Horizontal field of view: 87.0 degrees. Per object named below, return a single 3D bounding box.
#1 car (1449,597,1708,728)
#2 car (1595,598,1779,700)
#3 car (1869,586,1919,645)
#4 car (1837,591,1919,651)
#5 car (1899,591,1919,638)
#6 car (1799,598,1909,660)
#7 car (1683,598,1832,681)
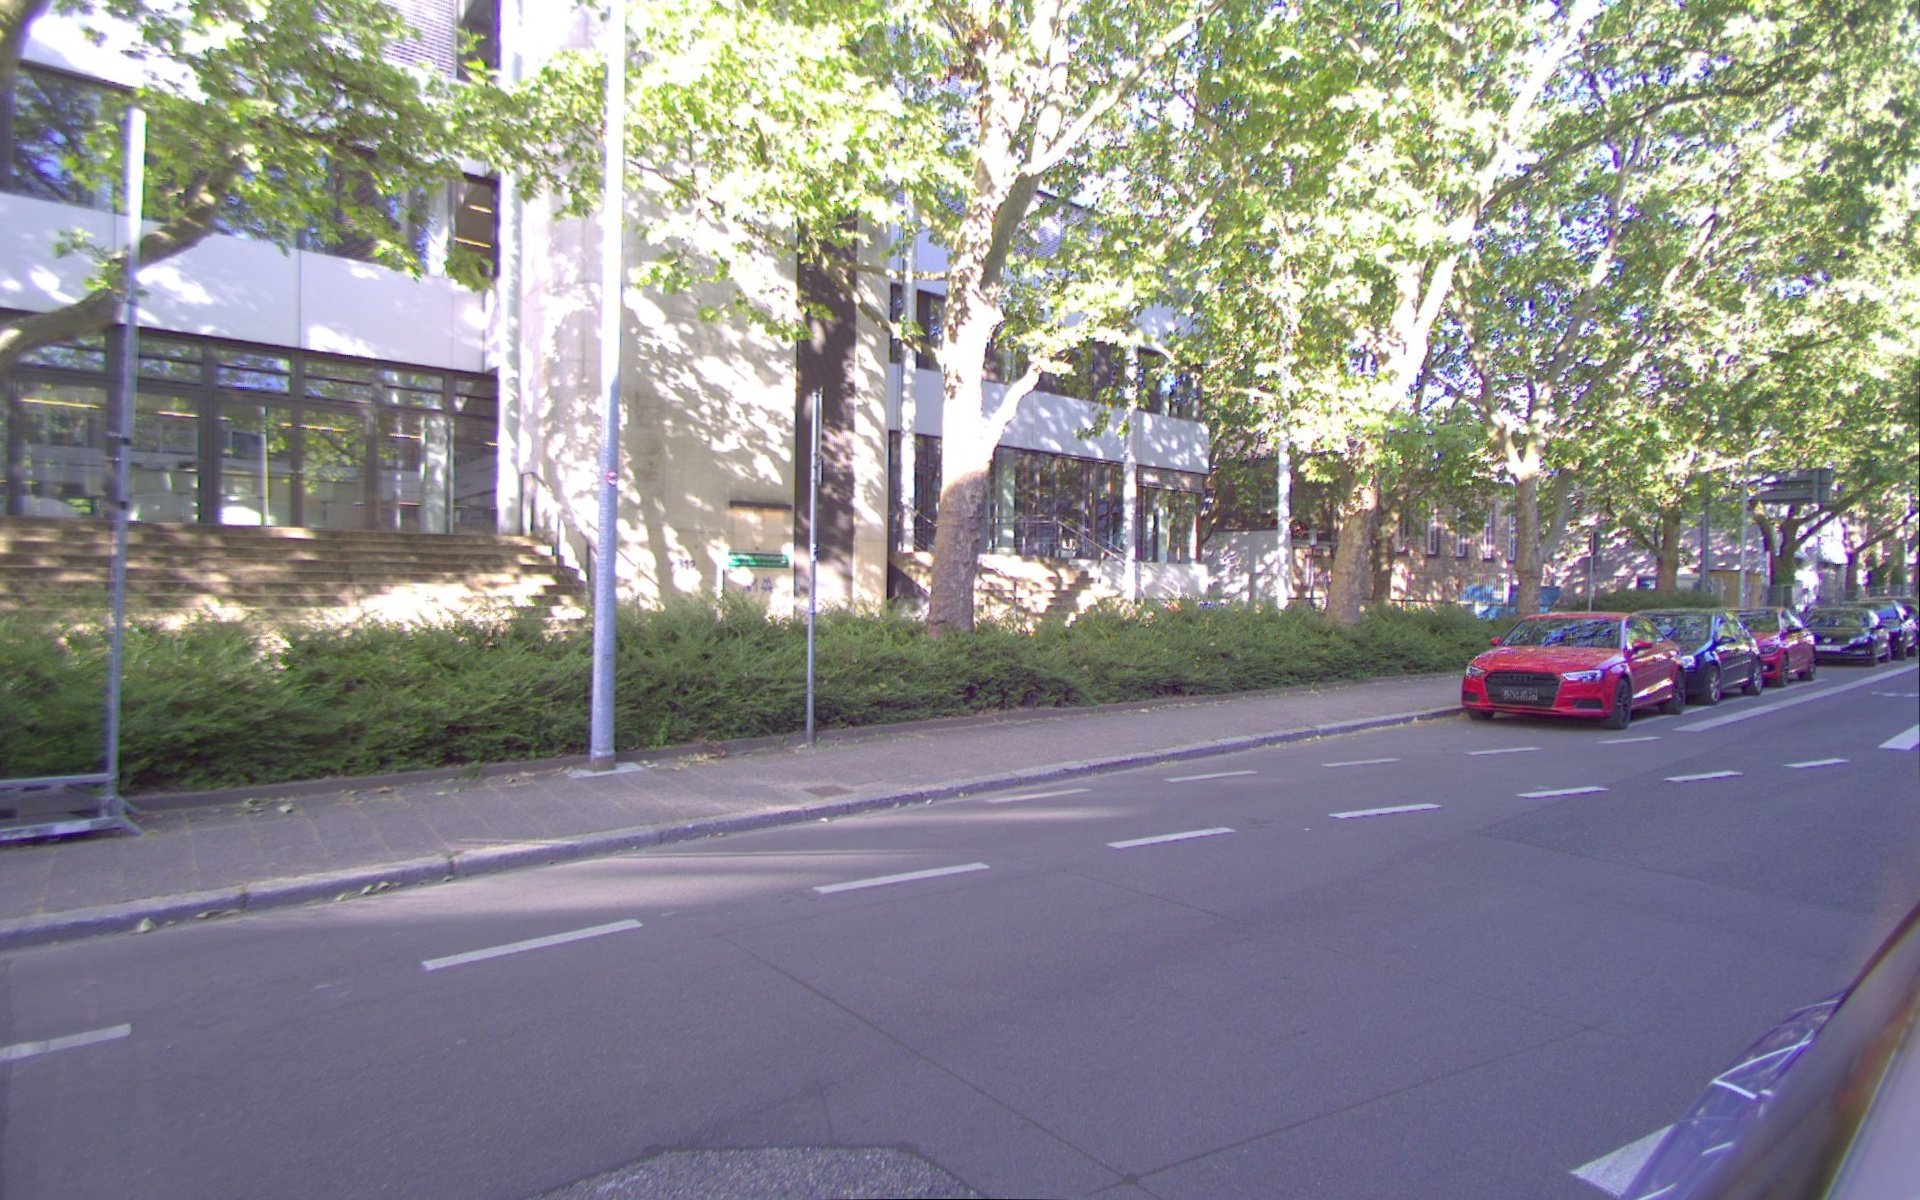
[{"bbox_3d":[8.351,0.718,13.537,4.053,1.483,1.802,0,-1,-41],"label":"car"},{"bbox_3d":[11.942,0.714,16.556,3.674,1.483,1.634,0,-1,-41],"label":"car"},{"bbox_3d":[30.971,0.469,32.882,3.777,1.828,1.634,0,-1,-41],"label":"car"},{"bbox_3d":[26.583,0.578,29.015,3.777,1.607,1.634,0,-1,-41],"label":"car"},{"bbox_3d":[35.950,0.524,37.245,3.777,1.675,1.634,0,-1,-41],"label":"car"},{"bbox_3d":[23.011,0.691,26.026,3.674,1.483,1.634,0,-1,-41],"label":"car"},{"bbox_3d":[15.771,0.719,19.970,3.674,1.483,1.634,0,-1,-41],"label":"car"}]
